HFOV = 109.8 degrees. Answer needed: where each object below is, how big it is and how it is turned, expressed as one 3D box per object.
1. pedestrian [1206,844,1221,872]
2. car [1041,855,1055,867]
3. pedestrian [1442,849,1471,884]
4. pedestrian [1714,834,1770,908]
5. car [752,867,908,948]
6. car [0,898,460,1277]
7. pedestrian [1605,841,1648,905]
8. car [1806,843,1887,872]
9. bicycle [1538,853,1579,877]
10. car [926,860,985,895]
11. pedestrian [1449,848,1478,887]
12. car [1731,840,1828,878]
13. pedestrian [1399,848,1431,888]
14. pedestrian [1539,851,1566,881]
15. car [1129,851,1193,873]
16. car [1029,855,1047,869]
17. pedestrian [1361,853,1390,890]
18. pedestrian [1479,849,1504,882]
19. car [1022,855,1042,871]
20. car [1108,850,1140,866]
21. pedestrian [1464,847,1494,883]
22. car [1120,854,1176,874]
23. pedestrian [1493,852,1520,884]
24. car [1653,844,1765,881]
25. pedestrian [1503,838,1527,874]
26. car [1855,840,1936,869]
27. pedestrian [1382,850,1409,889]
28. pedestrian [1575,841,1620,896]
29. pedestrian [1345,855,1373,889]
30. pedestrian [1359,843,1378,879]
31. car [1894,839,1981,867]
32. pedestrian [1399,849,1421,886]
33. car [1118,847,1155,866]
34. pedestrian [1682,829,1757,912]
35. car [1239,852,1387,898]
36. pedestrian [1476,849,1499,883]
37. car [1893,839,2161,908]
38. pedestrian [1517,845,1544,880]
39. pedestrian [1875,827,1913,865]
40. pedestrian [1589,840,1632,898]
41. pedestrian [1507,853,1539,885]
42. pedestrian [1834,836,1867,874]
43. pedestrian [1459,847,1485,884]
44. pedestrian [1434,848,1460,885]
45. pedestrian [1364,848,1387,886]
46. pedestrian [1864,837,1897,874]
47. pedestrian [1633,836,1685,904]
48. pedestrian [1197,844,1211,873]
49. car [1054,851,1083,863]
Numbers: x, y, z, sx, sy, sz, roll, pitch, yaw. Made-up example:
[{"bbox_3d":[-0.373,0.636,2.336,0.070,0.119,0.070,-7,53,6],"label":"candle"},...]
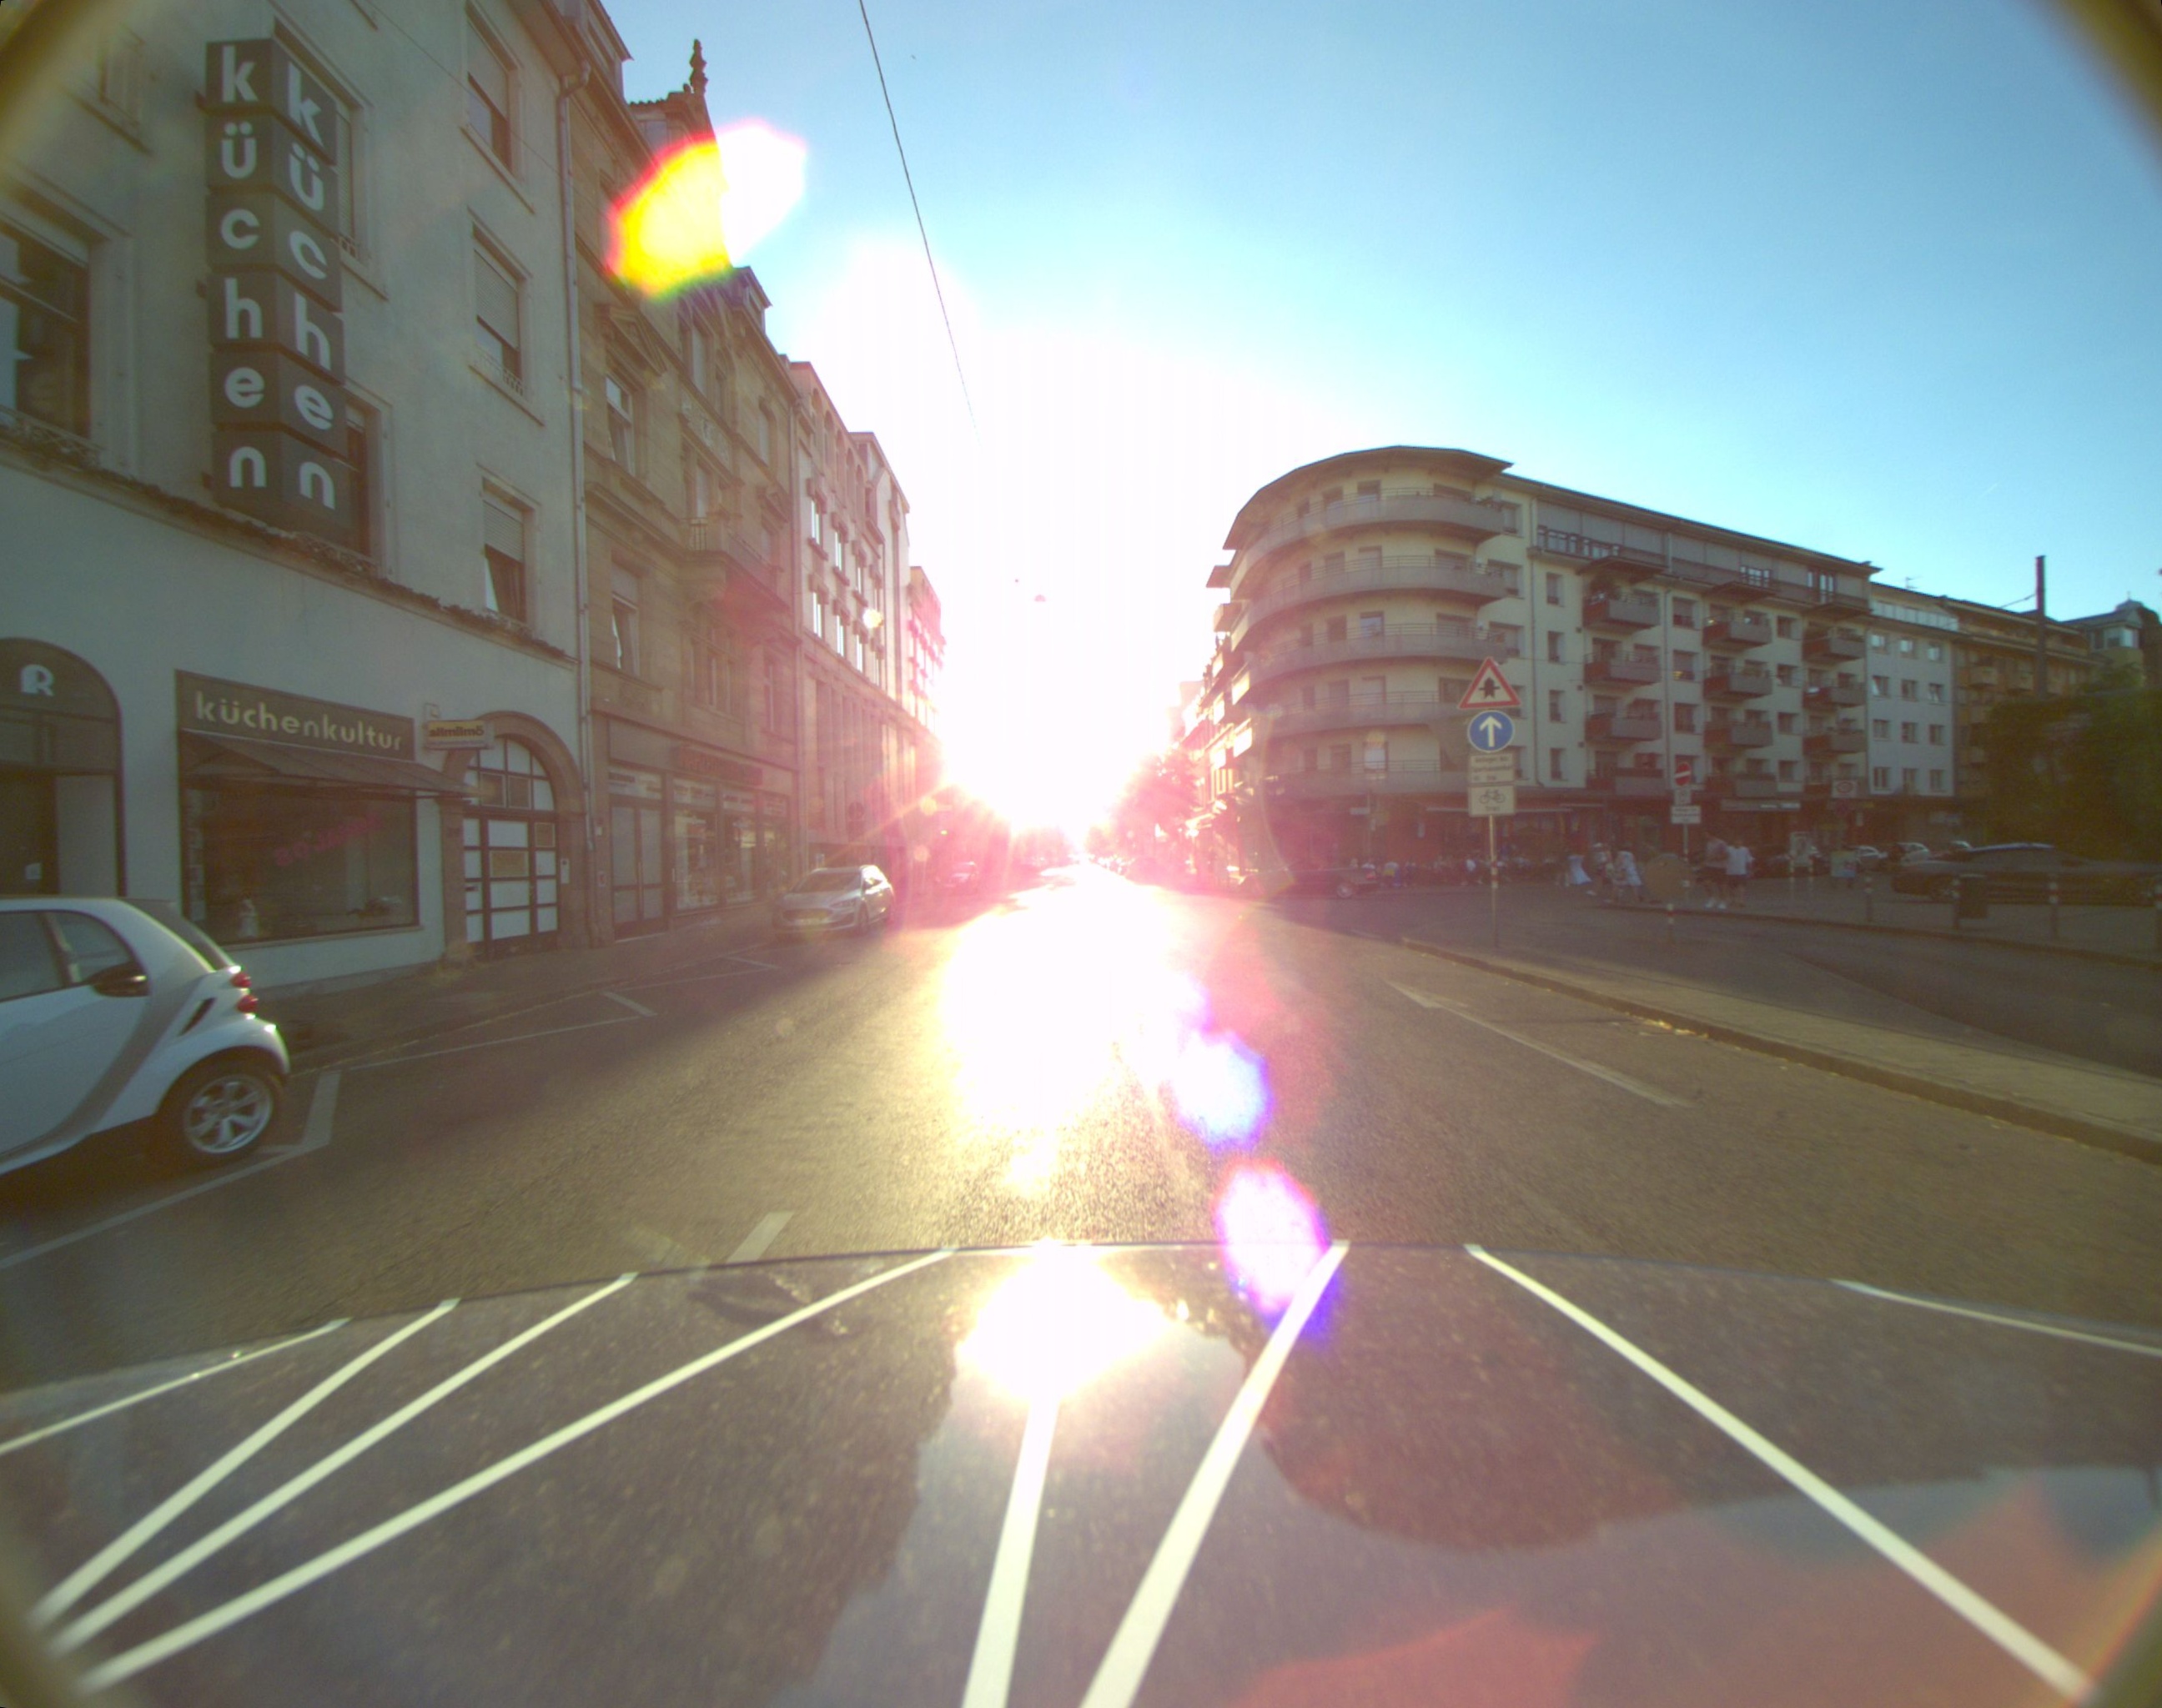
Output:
[{"bbox_3d":[9.121,0.279,52.281,0.730,1.937,0.804,-2,1,-5],"label":"pedestrian"},{"bbox_3d":[-4.689,0.998,107.478,1.756,1.543,4.286,-1,0,-1],"label":"car"},{"bbox_3d":[16.131,0.535,32.653,0.784,1.495,0.768,-1,1,-26],"label":"pedestrian"},{"bbox_3d":[16.378,0.418,18.850,0.982,1.783,0.892,-2,-1,41],"label":"pedestrian"},{"bbox_3d":[-5.450,1.088,17.218,1.999,1.526,4.682,-2,-1,-1],"label":"car"},{"bbox_3d":[-5.629,1.105,3.804,1.704,1.575,4.000,-1,-1,1],"label":"car"},{"bbox_3d":[15.535,0.534,21.636,0.884,1.792,0.713,-1,-1,-38],"label":"pedestrian"},{"bbox_3d":[39.992,0.190,39.701,3.972,1.395,1.750,-1,-1,-26],"label":"car"},{"bbox_3d":[22.126,0.509,35.217,2.008,1.080,0.549,-1,-1,-24],"label":"bicycle"},{"bbox_3d":[-5.768,1.041,35.460,1.998,1.511,4.000,-1,0,1],"label":"car"},{"bbox_3d":[15.809,0.536,31.390,0.760,1.528,0.712,-1,4,-27],"label":"pedestrian"},{"bbox_3d":[33.864,0.240,36.845,4.142,1.689,1.882,-1,-1,-23],"label":"car"},{"bbox_3d":[13.223,0.538,30.117,0.854,1.528,0.712,-1,5,-22],"label":"pedestrian"},{"bbox_3d":[20.881,0.512,33.659,0.850,1.271,0.716,0,4,44],"label":"pedestrian"},{"bbox_3d":[5.785,0.578,55.588,4.442,1.532,1.817,-1,0,-1],"label":"car"},{"bbox_3d":[-5.088,0.928,90.271,1.999,1.543,3.999,-1,0,-1],"label":"car"},{"bbox_3d":[11.454,0.657,29.534,0.768,1.374,0.841,0,2,41],"label":"pedestrian"},{"bbox_3d":[18.168,0.505,33.605,0.603,1.413,0.713,-1,-1,-24],"label":"pedestrian"},{"bbox_3d":[-5.291,0.959,82.569,1.999,1.543,3.999,-1,0,-1],"label":"car"},{"bbox_3d":[5.782,0.473,101.800,3.998,2.002,1.999,-2,0,-3],"label":"car"},{"bbox_3d":[17.033,0.486,32.510,0.680,1.527,0.851,-1,-1,-27],"label":"pedestrian"},{"bbox_3d":[5.068,0.750,57.894,3.998,1.412,1.999,-1,0,-3],"label":"car"},{"bbox_3d":[18.002,0.585,32.157,0.750,1.337,0.654,-1,3,-26],"label":"pedestrian"},{"bbox_3d":[28.532,0.398,34.509,4.635,1.542,1.877,-1,-1,-22],"label":"car"},{"bbox_3d":[20.814,0.101,36.426,0.669,1.710,0.717,-2,0,-25],"label":"pedestrian"},{"bbox_3d":[44.912,0.035,41.905,3.952,1.468,1.766,-1,-1,-23],"label":"car"},{"bbox_3d":[12.428,0.598,30.056,0.689,1.527,0.714,-2,1,-7],"label":"pedestrian"},{"bbox_3d":[17.215,0.492,25.315,0.870,1.783,0.850,-1,-1,-21],"label":"pedestrian"},{"bbox_3d":[11.065,0.699,30.236,0.684,1.274,0.970,-1,3,41],"label":"pedestrian"},{"bbox_3d":[14.179,0.337,37.466,0.618,1.766,0.611,-2,0,-26],"label":"pedestrian"},{"bbox_3d":[49.046,-0.076,43.516,4.399,1.468,1.865,-1,-1,-22],"label":"car"},{"bbox_3d":[13.754,0.554,31.755,0.647,1.527,0.753,-2,-1,9],"label":"pedestrian"},{"bbox_3d":[6.364,0.276,87.806,3.998,2.002,1.999,-2,0,-3],"label":"car"},{"bbox_3d":[14.918,0.384,17.764,0.891,1.872,0.983,-1,-1,-21],"label":"pedestrian"},{"bbox_3d":[7.740,0.694,25.636,4.608,1.400,1.812,-1,2,15],"label":"car"},{"bbox_3d":[17.587,0.522,32.882,0.562,1.426,0.666,-1,2,-26],"label":"pedestrian"},{"bbox_3d":[22.368,0.435,17.623,2.110,1.422,4.440,-1,-1,-30],"label":"car"},{"bbox_3d":[20.257,0.388,34.269,0.851,1.527,0.716,-2,-1,44],"label":"pedestrian"},{"bbox_3d":[38.096,-0.377,35.604,0.921,1.716,0.833,-2,0,-11],"label":"pedestrian"},{"bbox_3d":[16.930,0.478,24.316,0.737,1.783,0.811,-1,-1,-21],"label":"pedestrian"},{"bbox_3d":[18.999,0.639,32.664,0.853,1.298,0.878,-2,2,-4],"label":"pedestrian"},{"bbox_3d":[38.039,0.068,37.564,1.005,1.816,0.948,-2,-1,39],"label":"pedestrian"},{"bbox_3d":[16.415,0.481,31.914,0.701,1.519,0.649,-1,4,-28],"label":"pedestrian"},{"bbox_3d":[15.537,0.506,32.267,0.655,1.527,0.674,-1,3,-26],"label":"pedestrian"},{"bbox_3d":[12.161,0.519,31.352,0.712,1.526,0.855,-2,-1,32],"label":"pedestrian"},{"bbox_3d":[38.499,0.082,36.593,0.704,1.716,0.919,-2,0,-28],"label":"pedestrian"},{"bbox_3d":[16.350,0.457,21.512,0.851,1.865,0.715,-2,-1,5],"label":"pedestrian"},{"bbox_3d":[8.420,0.326,52.093,0.730,1.937,0.740,-2,1,-5],"label":"pedestrian"},{"bbox_3d":[-2.195,0.499,133.546,4.836,2.002,2.004,-1,0,37],"label":"car"}]
